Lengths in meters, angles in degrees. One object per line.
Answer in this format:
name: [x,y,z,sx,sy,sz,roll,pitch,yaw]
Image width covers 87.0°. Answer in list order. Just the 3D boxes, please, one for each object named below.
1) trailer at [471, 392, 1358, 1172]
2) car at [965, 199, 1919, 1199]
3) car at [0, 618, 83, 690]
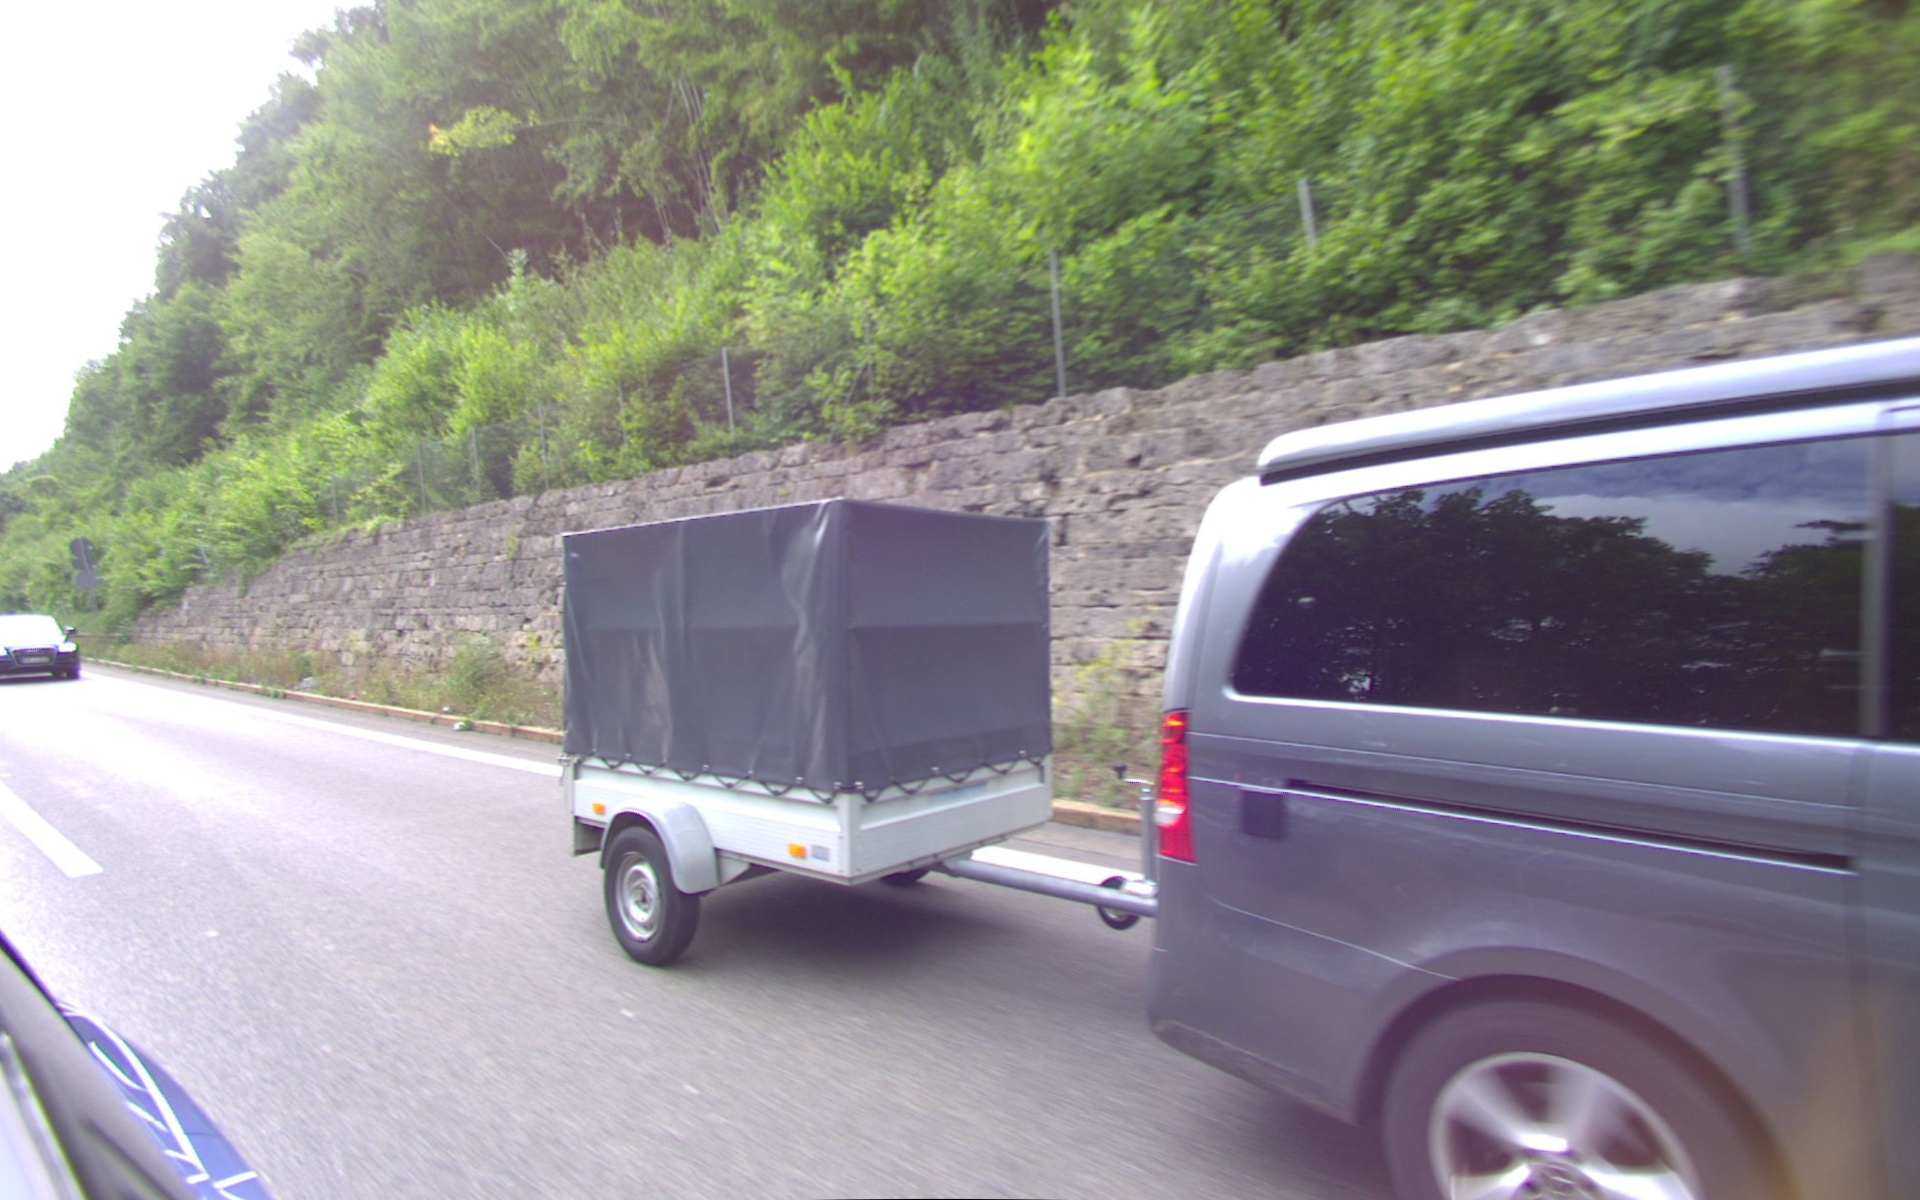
trailer: [-0.361,0.498,4.403,3.427,1.954,1.951,-2,-1,40]
car: [2.774,0.375,1.740,5.535,2.029,1.973,-2,-1,40]
car: [-24.479,1.334,26.183,5.584,1.605,1.950,0,2,42]
